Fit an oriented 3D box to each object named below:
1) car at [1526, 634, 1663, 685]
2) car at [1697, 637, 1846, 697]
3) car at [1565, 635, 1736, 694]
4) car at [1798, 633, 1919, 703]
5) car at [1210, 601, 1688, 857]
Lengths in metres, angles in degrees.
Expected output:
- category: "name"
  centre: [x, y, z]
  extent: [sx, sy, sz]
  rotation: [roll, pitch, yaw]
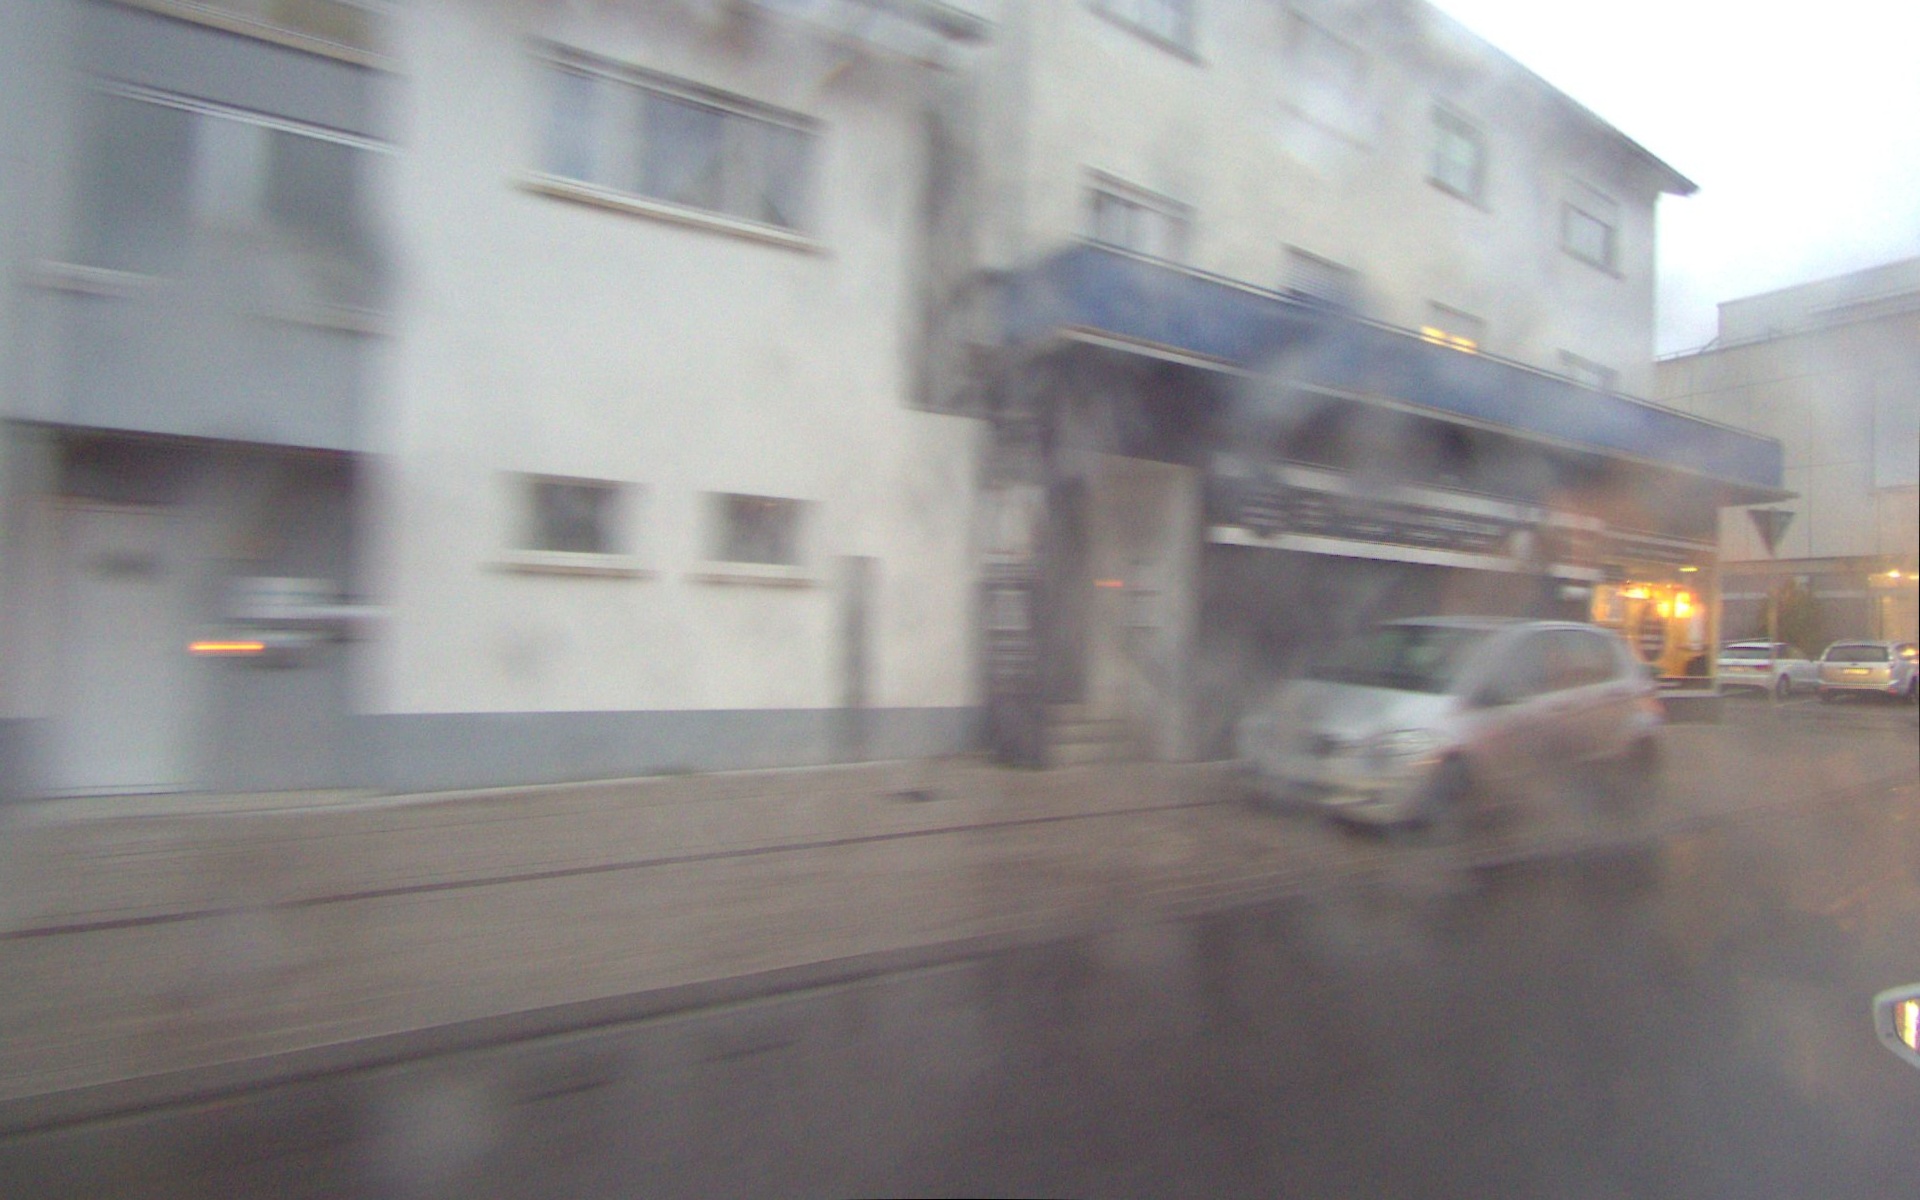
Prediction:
- category: "car"
  centre: [20.563, 1.881, 32.531]
  extent: [4.391, 1.483, 1.692]
  rotation: [0, -1, -26]
- category: "car"
  centre: [22.312, 1.785, 27.581]
  extent: [4.396, 1.419, 1.690]
  rotation: [0, -1, -30]
- category: "car"
  centre: [20.431, 1.841, 29.682]
  extent: [4.981, 1.519, 2.094]
  rotation: [0, -1, -28]
- category: "car"
  centre: [22.949, 1.642, 25.239]
  extent: [4.404, 1.519, 1.753]
  rotation: [0, -1, -34]
- category: "car"
  centre: [4.076, 0.887, 8.283]
  extent: [3.771, 1.636, 1.712]
  rotation: [1, 1, -30]
